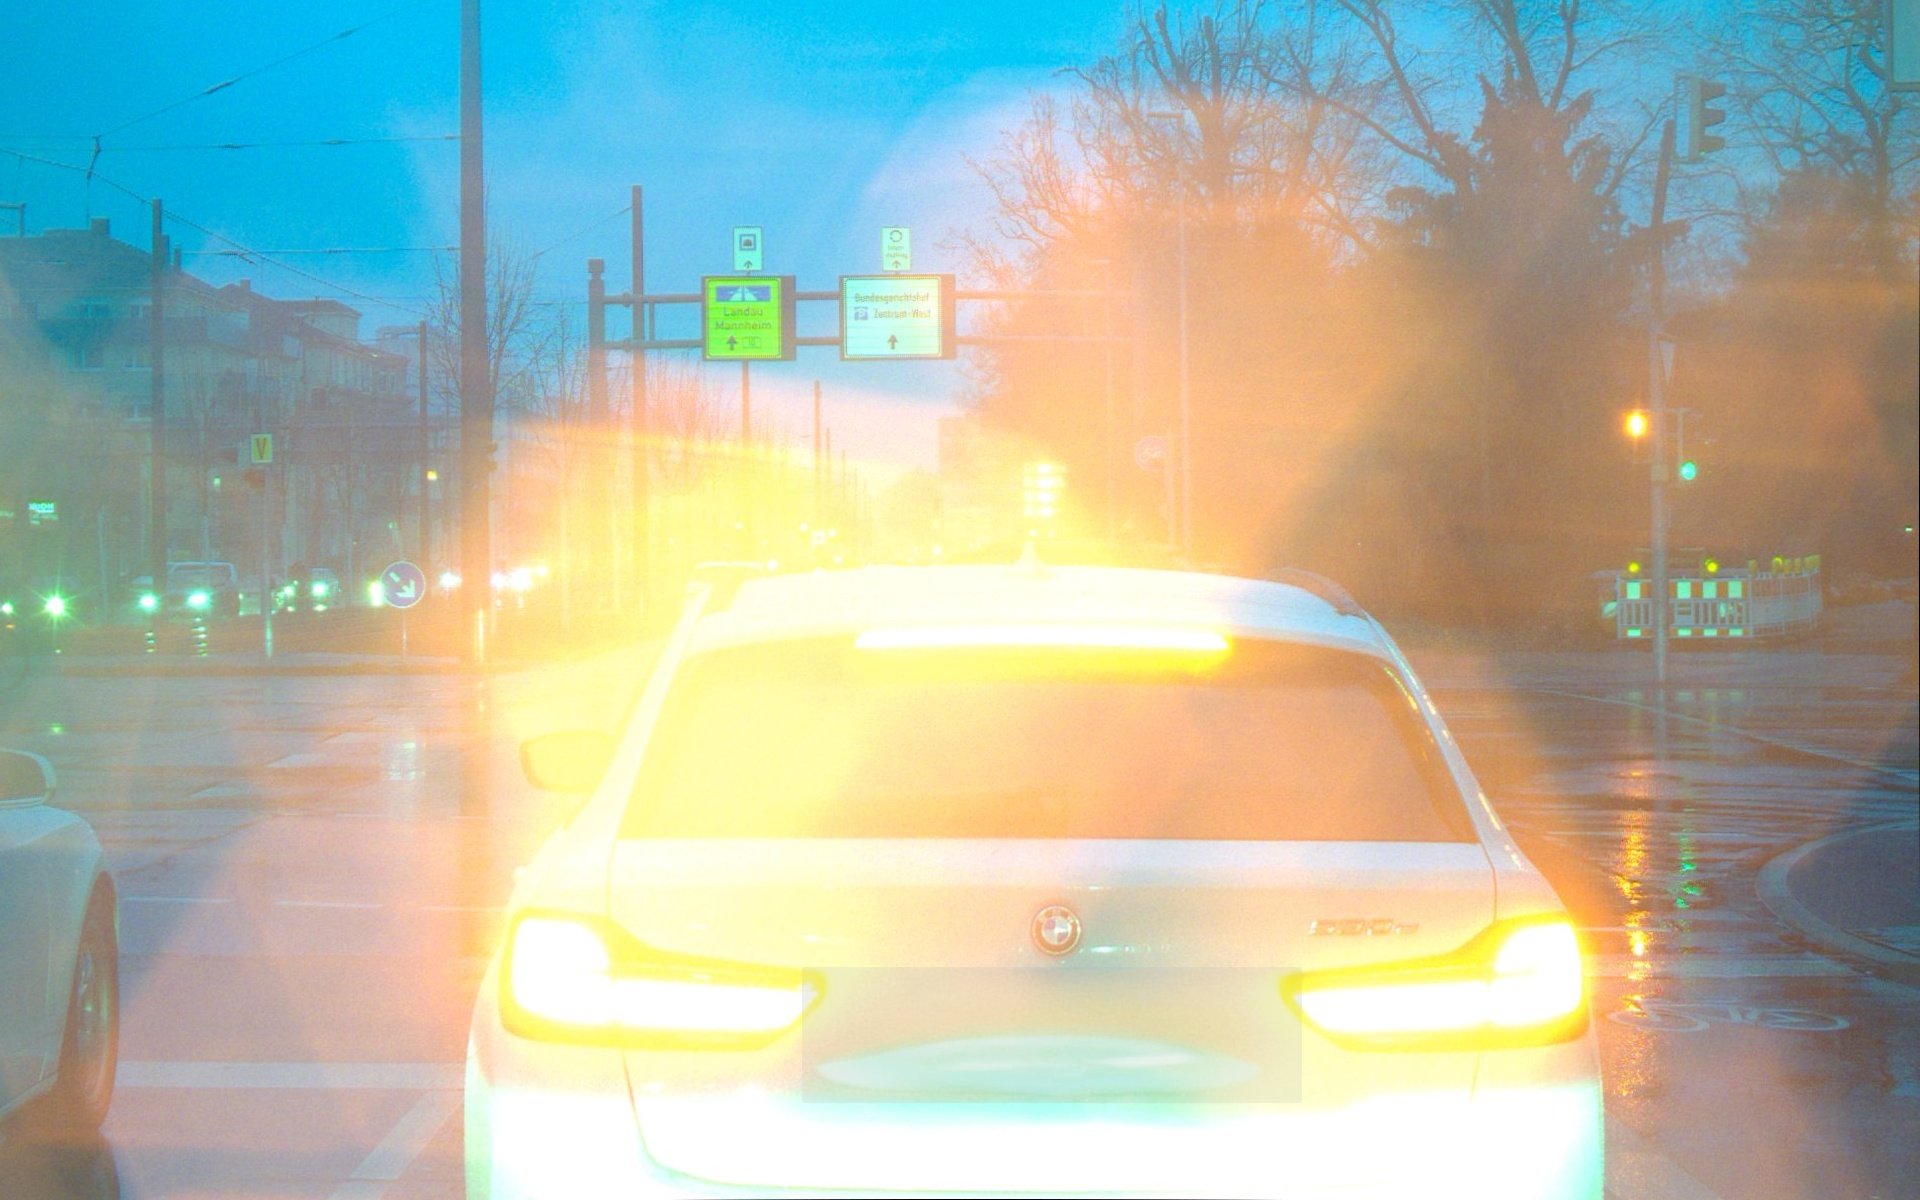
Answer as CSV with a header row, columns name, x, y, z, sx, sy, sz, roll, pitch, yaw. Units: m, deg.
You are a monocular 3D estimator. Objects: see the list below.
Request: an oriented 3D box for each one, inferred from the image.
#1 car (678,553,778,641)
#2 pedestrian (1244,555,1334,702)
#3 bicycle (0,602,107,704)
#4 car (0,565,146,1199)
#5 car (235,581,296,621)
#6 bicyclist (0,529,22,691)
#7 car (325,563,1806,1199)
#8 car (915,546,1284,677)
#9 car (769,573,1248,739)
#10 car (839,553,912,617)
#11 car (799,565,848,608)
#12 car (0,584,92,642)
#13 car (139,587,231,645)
name,x,y,z,sx,sy,sz,roll,pitch,yaw
car,-4.333,-0.061,63.794,1.743,1.548,3.969,1,0,-5
pedestrian,4.227,0.362,44.131,0.904,1.850,0.811,1,0,24
bicycle,-10.772,0.562,37.667,2.666,1.085,0.815,1,0,-6
car,-3.093,0.669,7.032,1.993,1.451,4.369,0,1,-2
car,-27.422,0.044,135.865,1.675,1.502,3.696,1,0,-1
bicyclist,-10.859,0.098,37.663,0.972,1.753,0.813,1,0,-7
car,0.053,0.672,6.814,1.993,1.451,4.369,0,1,-2
car,1.564,0.117,39.425,3.997,1.397,1.753,1,0,41
car,0.480,0.489,31.409,4.095,1.436,1.839,0,0,12
car,-2.215,-0.394,90.165,1.843,1.603,3.945,1,0,-2
car,-5.304,-0.517,133.859,1.843,1.603,3.945,1,0,-2
car,-24.697,0.348,92.652,1.675,1.502,3.696,1,0,-1
car,-21.091,0.429,93.676,1.675,1.502,3.696,1,0,-1
